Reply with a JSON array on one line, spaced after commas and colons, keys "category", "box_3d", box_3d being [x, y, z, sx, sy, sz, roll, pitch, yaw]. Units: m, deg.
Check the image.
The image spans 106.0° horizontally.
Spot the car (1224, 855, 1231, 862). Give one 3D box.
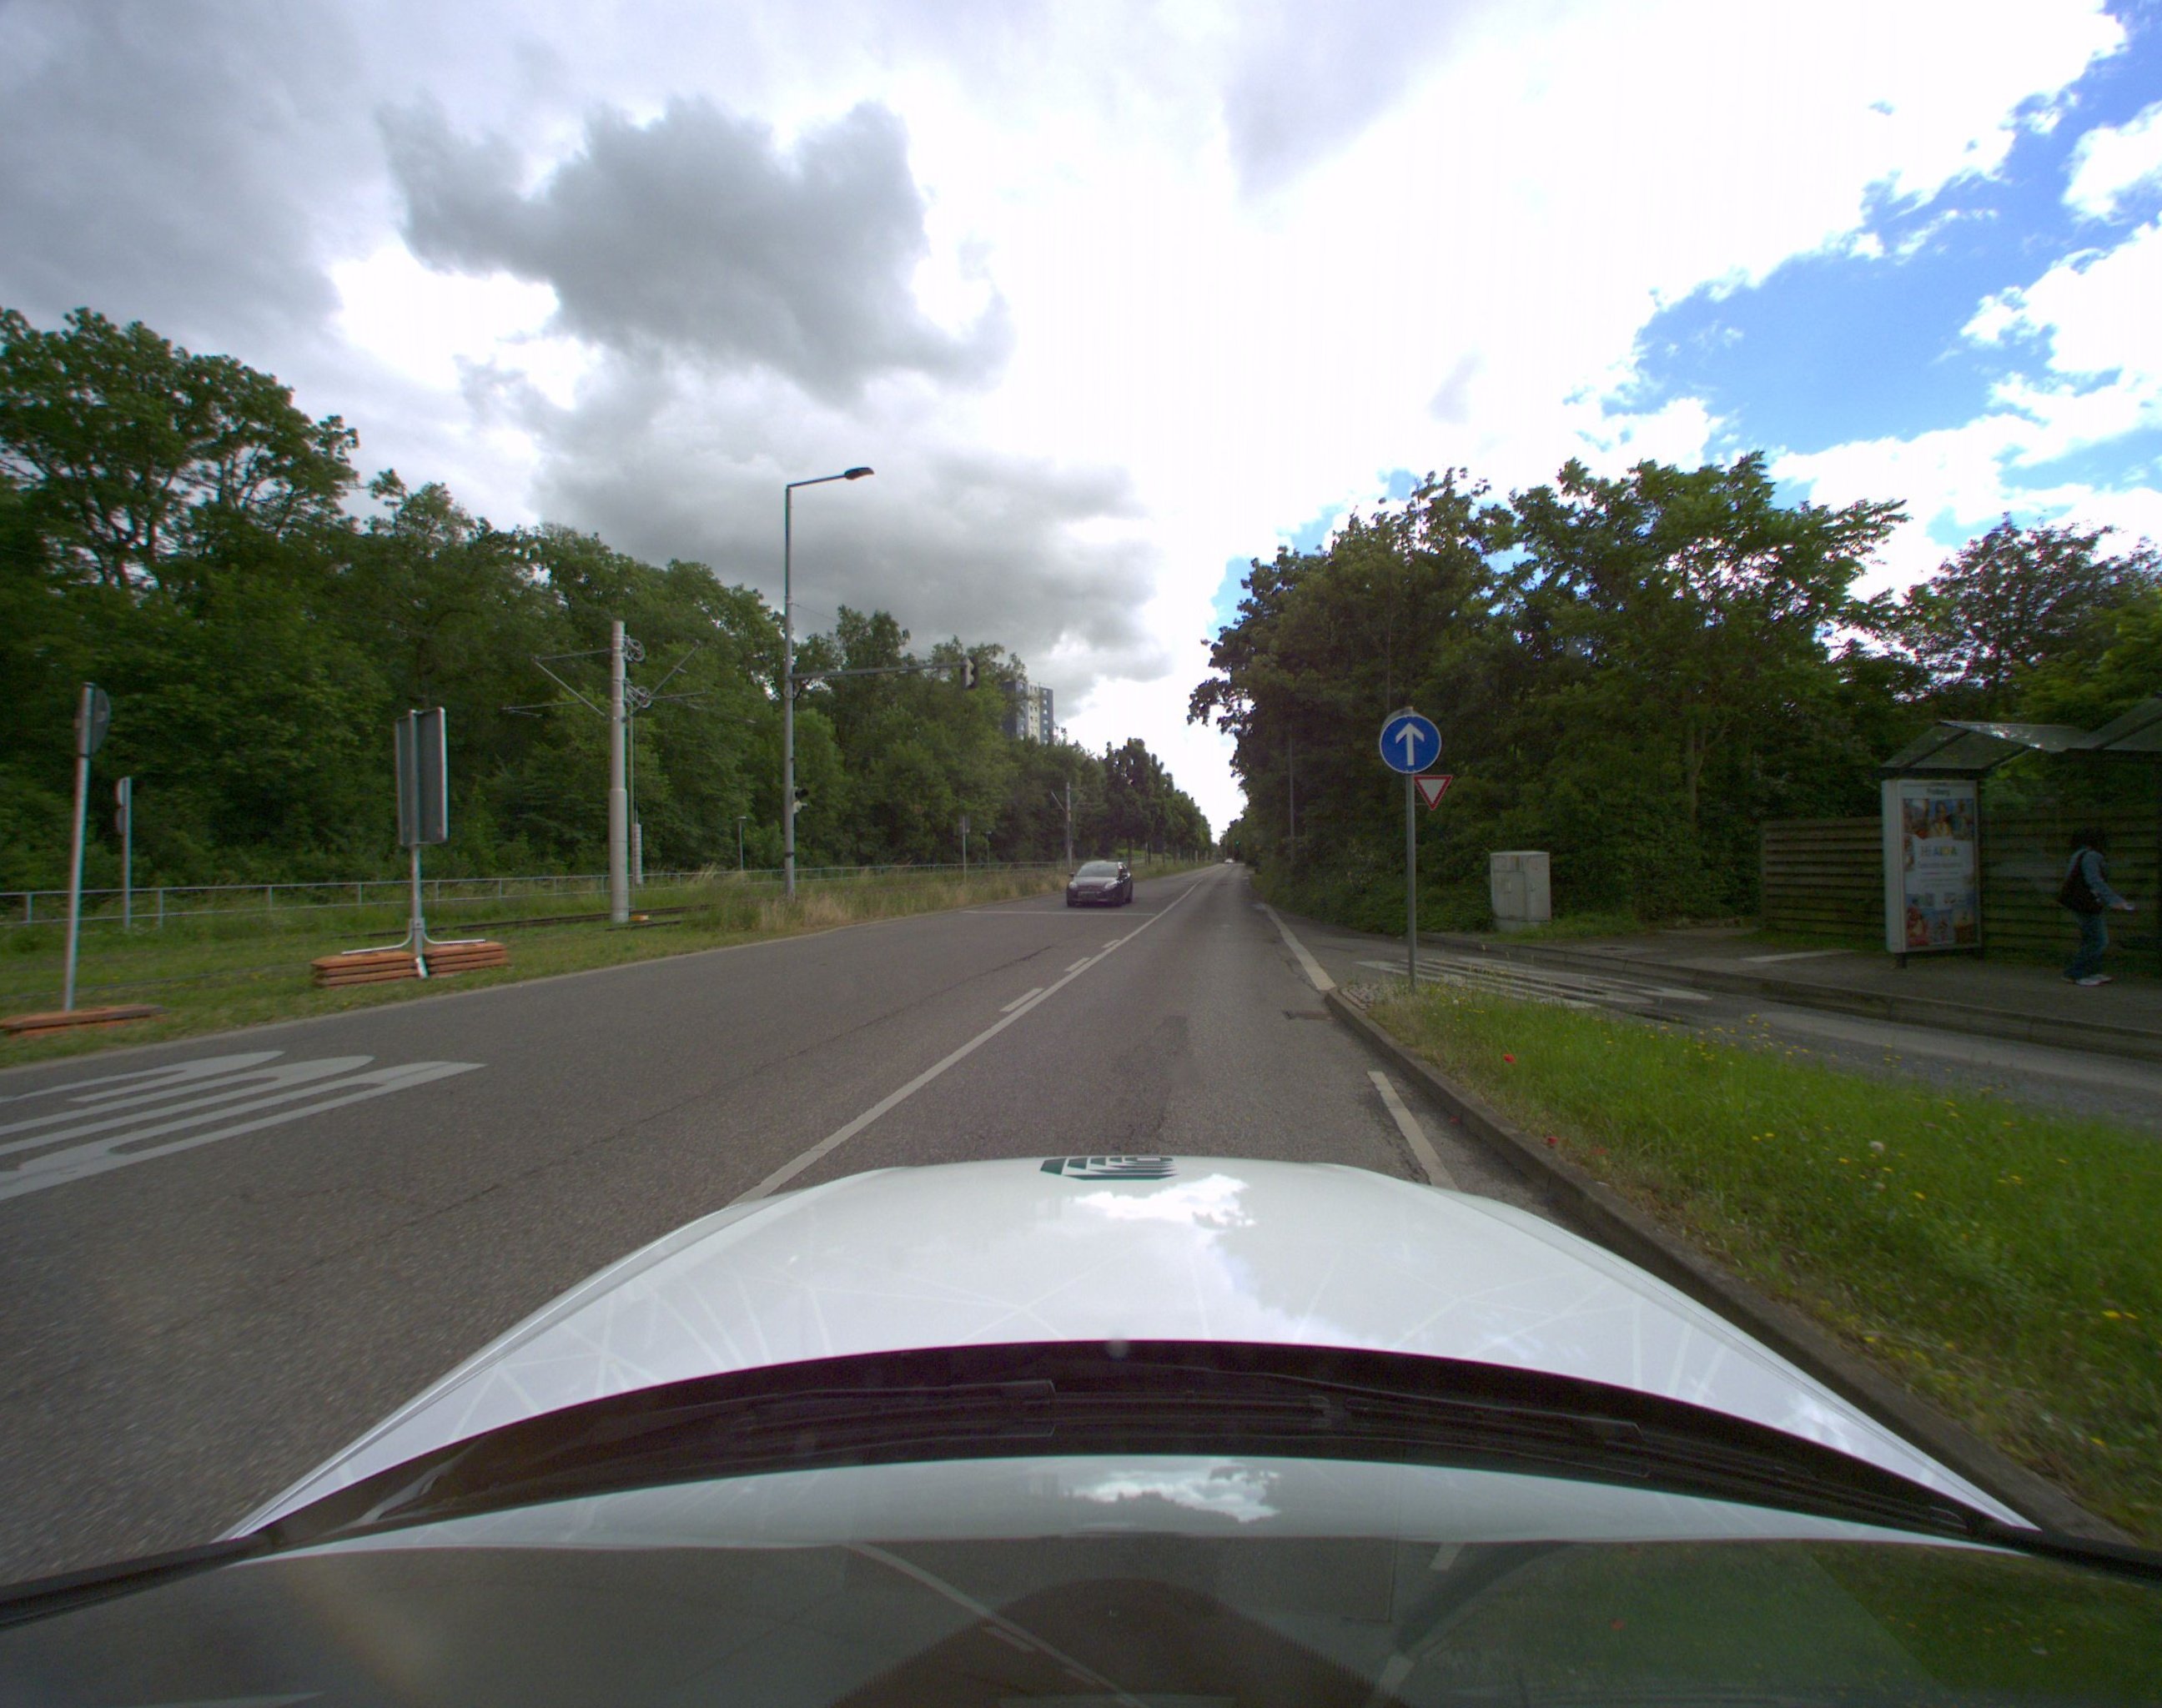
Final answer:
[{"category": "car", "box_3d": [37.743, 1.244, 209.760, 1.705, 1.629, 4.012, -4, -1, 11]}]

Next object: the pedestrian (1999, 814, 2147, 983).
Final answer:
[{"category": "pedestrian", "box_3d": [10.249, 0.428, 8.433, 0.687, 1.650, 0.766, -1, 0, -20]}]

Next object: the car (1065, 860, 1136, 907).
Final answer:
[{"category": "car", "box_3d": [0.753, 0.950, 27.716, 1.744, 1.434, 4.441, -1, 0, 10]}]
